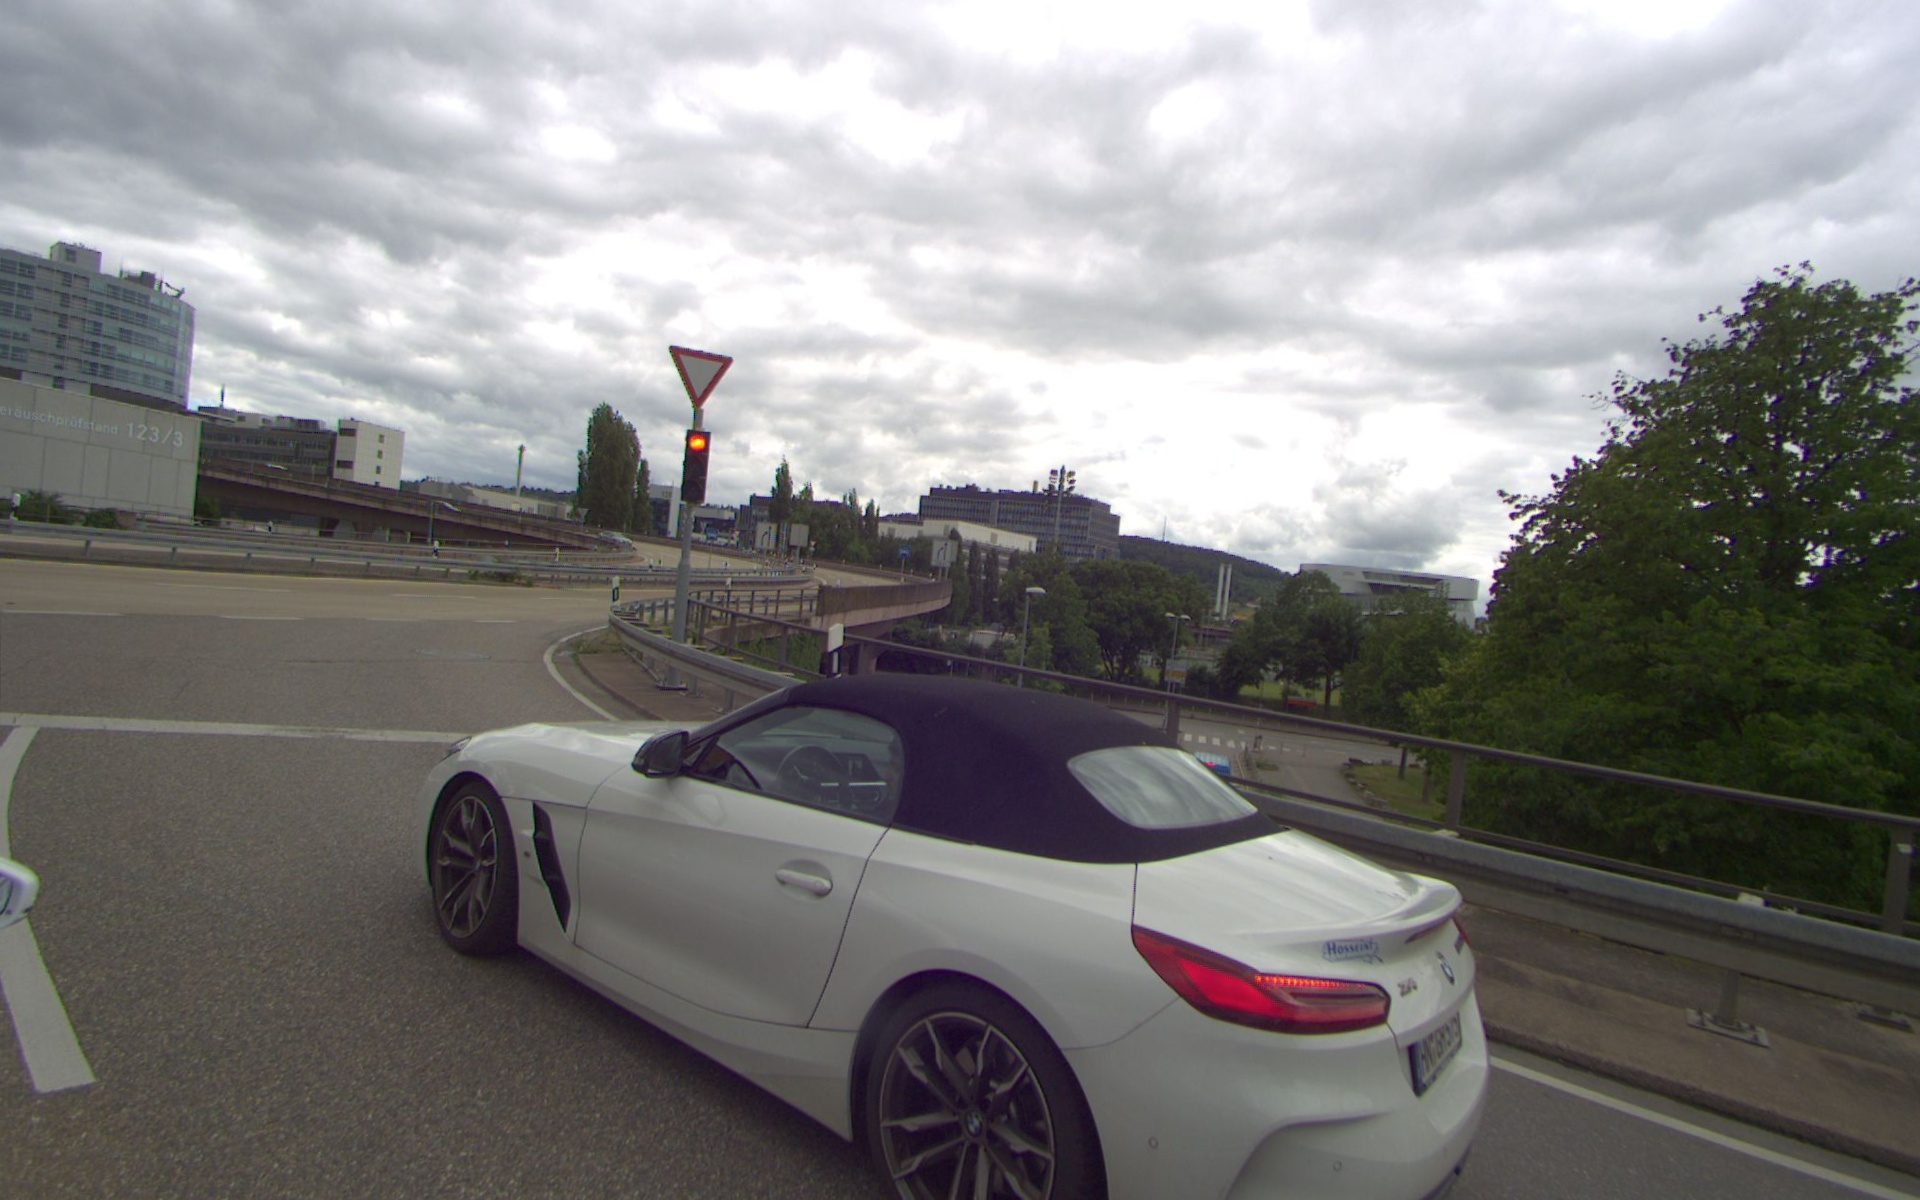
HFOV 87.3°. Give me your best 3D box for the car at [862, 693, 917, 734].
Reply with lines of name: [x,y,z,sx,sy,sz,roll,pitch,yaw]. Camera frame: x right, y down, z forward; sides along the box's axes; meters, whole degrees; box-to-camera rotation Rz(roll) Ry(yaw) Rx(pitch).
car: [-3.710,6.015,53.649,1.792,1.553,4.001,8,1,10]

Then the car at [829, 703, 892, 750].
car: [-4.681,5.973,47.933,1.792,1.553,4.001,8,1,10]

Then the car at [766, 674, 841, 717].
car: [-9.104,5.554,58.746,3.790,1.782,1.827,8,1,5]

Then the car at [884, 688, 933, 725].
car: [-2.933,6.142,58.281,1.792,1.553,4.001,8,1,10]

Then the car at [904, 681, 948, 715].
car: [-2.107,6.176,63.626,1.792,1.553,4.196,8,1,10]

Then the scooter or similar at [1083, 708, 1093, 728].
scooter or similar: [8.731,8.036,68.668,0.481,1.199,1.073,8,1,11]

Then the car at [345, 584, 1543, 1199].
car: [-0.398,0.873,3.788,4.199,1.306,1.806,7,-2,38]

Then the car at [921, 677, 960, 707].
car: [-1.341,6.321,69.722,1.792,1.553,4.001,8,1,10]

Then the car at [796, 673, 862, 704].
car: [-8.563,5.768,65.881,3.790,1.371,1.827,8,1,5]

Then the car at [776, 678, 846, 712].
car: [-9.029,5.777,61.103,3.790,1.371,1.827,8,1,5]

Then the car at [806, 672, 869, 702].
car: [-8.288,5.845,67.985,3.790,1.371,1.827,8,1,5]

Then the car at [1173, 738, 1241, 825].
car: [10.154,7.416,41.712,1.978,2.617,5.399,10,-2,10]

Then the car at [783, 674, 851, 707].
car: [-9.017,5.700,63.569,3.790,1.371,1.827,8,1,5]

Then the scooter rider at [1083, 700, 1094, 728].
scooter rider: [8.776,7.756,68.637,0.481,1.776,0.548,8,2,11]

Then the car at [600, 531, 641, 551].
car: [-36.652,-6.378,108.611,4.679,1.679,1.910,6,-4,40]

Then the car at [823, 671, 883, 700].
car: [-7.483,6.006,70.711,3.790,1.371,1.827,8,1,5]
